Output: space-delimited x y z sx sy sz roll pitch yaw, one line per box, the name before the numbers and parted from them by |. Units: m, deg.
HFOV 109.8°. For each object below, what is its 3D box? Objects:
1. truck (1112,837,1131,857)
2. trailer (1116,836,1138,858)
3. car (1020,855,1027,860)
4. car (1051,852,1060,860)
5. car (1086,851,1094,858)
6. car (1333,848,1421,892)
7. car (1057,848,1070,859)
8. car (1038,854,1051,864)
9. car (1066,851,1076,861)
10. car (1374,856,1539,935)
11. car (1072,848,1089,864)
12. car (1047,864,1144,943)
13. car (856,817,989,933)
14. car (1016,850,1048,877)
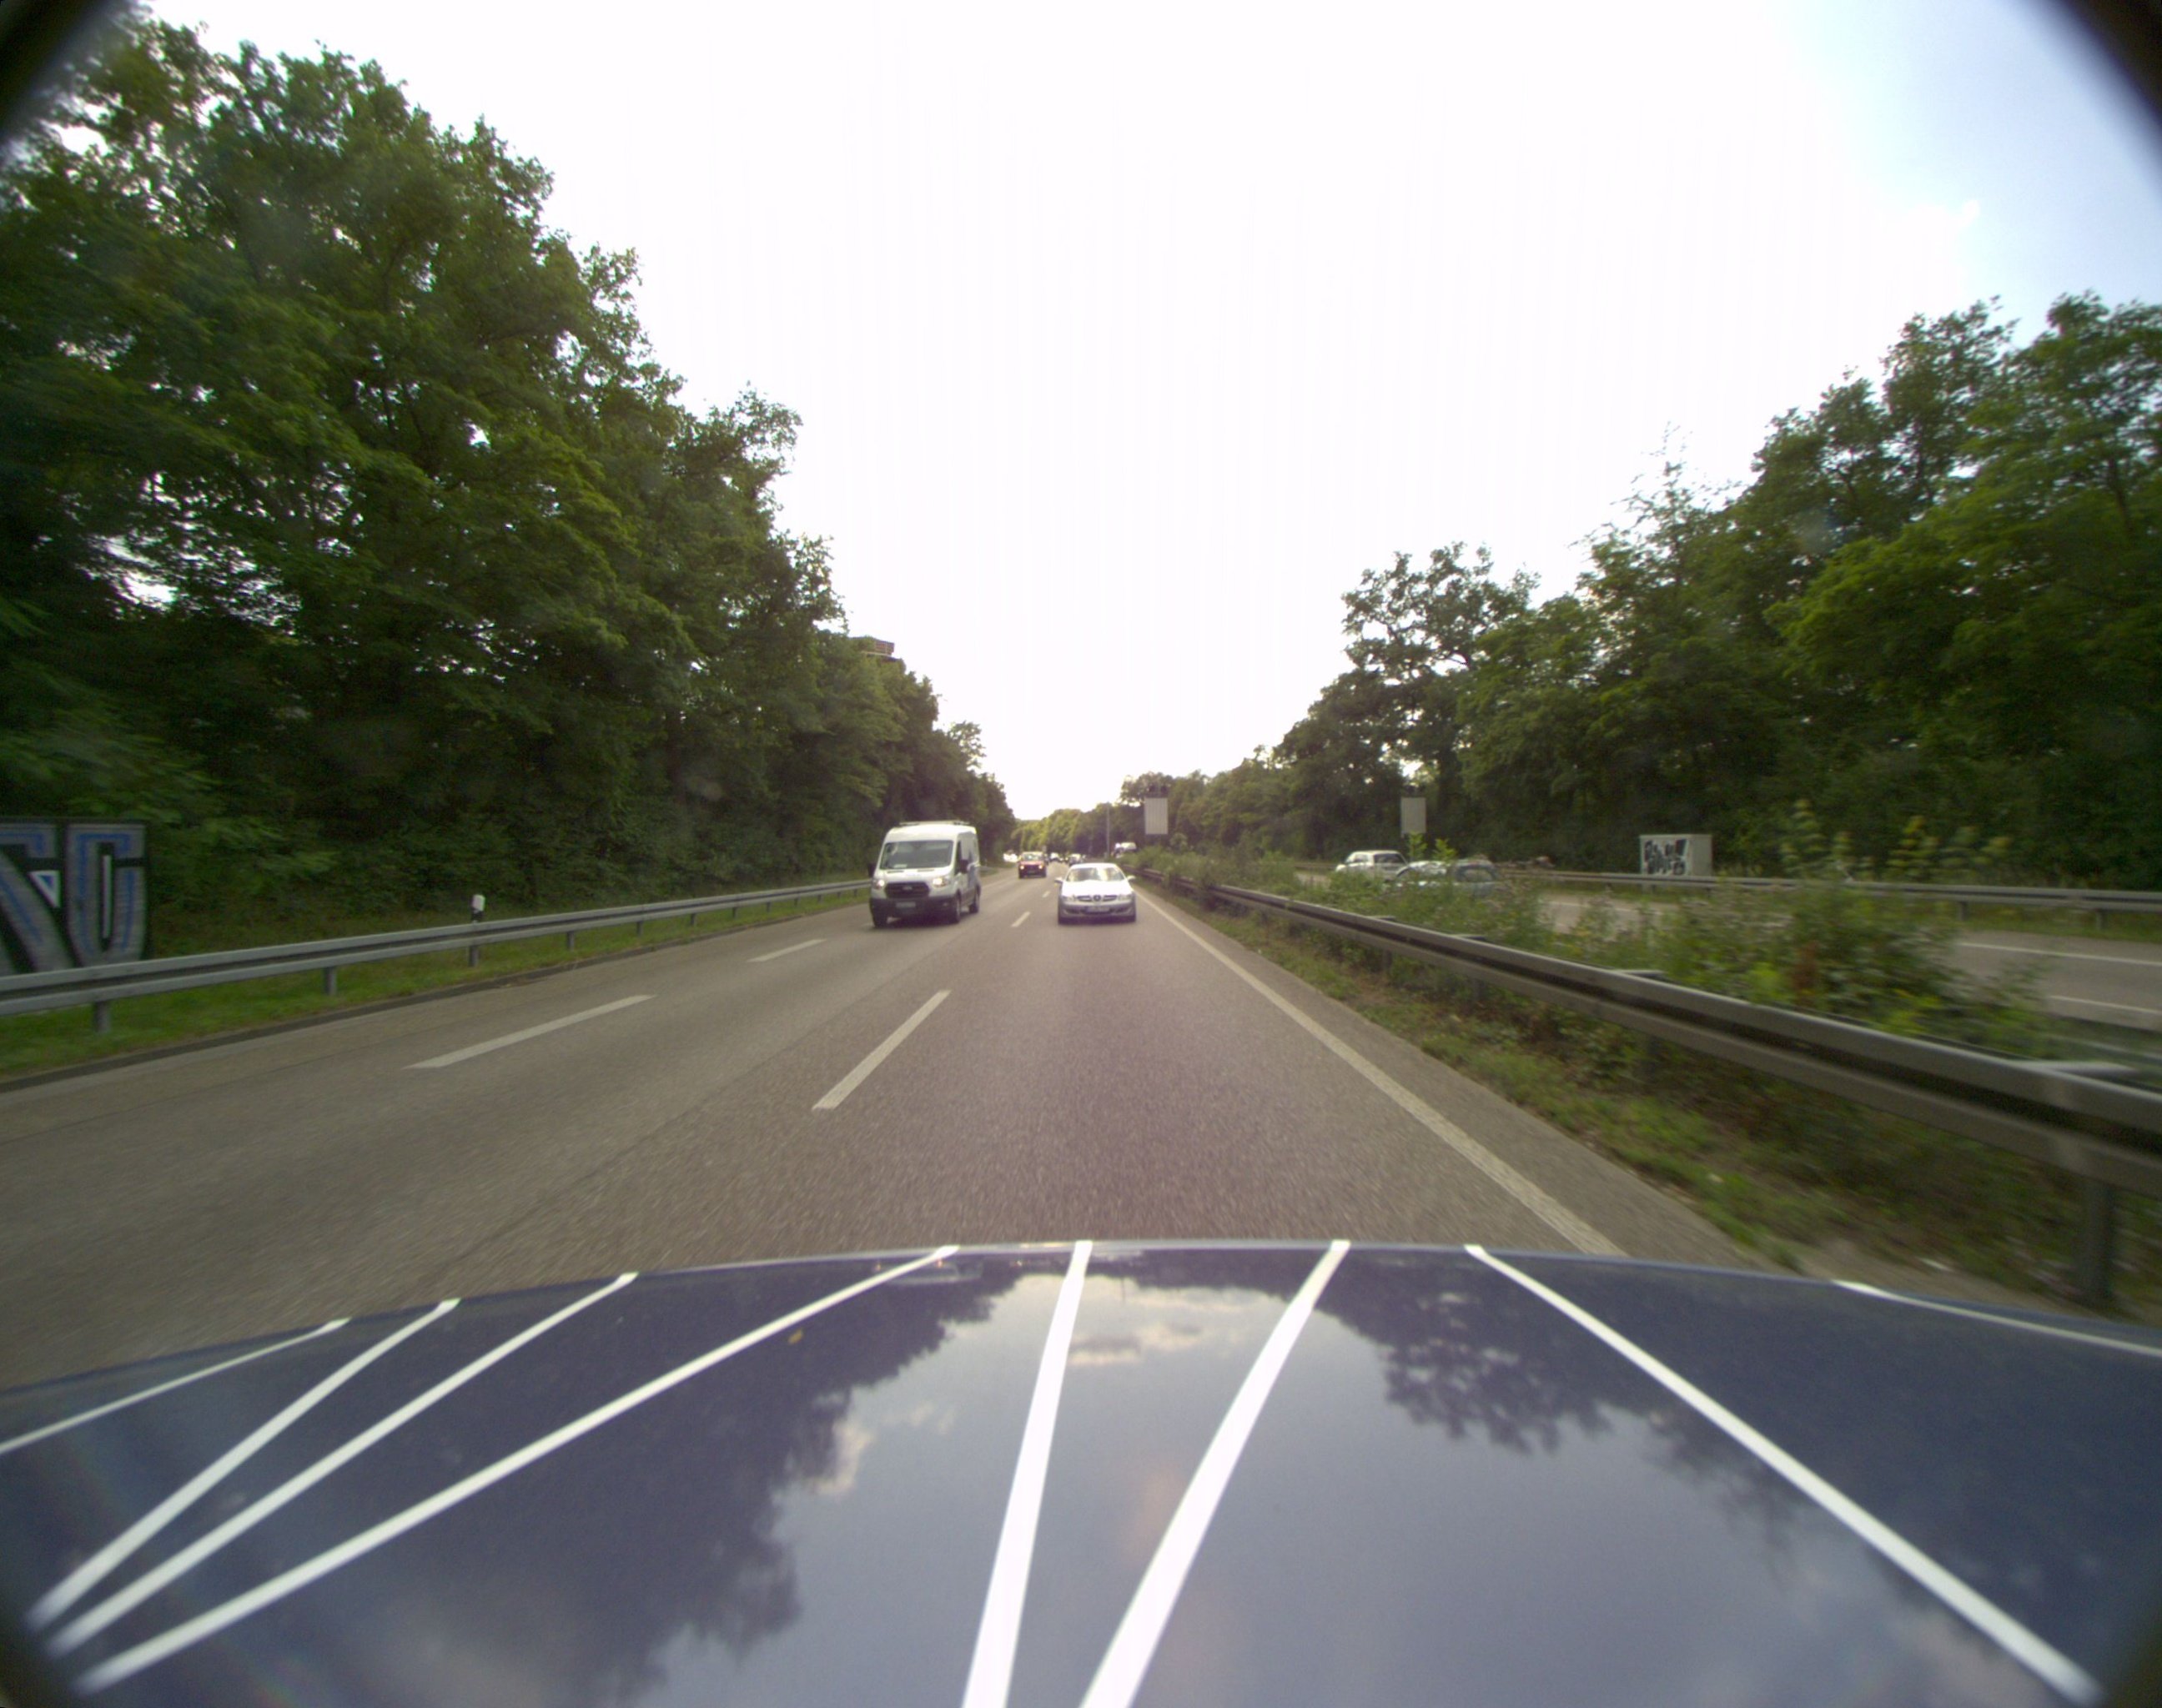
truck | 7.900 -1.353 149.492 2.963 3.833 10.320 0 0 -2
trailer | 8.302 -1.258 139.206 2.946 3.811 10.306 0 0 -2
car | -16.749 1.003 222.619 1.786 1.513 3.999 -1 0 -2
car | -5.343 0.340 157.294 1.700 1.579 3.998 -1 0 -3
car | 1.986 0.074 171.248 1.678 1.542 4.262 -1 0 -2
car | 12.382 0.620 32.108 1.790 1.728 4.880 -1 0 0
car | -3.242 -0.117 139.706 1.999 2.002 3.998 -1 0 -6
car | -5.685 0.765 118.486 1.890 1.516 3.999 -1 0 -3
car | -1.621 0.298 124.495 1.473 1.560 3.293 -1 0 -3
car | 8.516 0.850 17.673 1.826 1.578 4.138 -1 0 0
car | -0.024 0.284 97.767 1.998 2.002 4.000 -1 0 2
car | 0.333 0.956 16.741 1.751 1.295 5.223 -2 0 2
car | -3.839 0.456 19.500 2.104 2.493 5.279 -2 0 1
car | -3.481 0.644 55.081 1.908 1.795 4.395 -2 0 1
